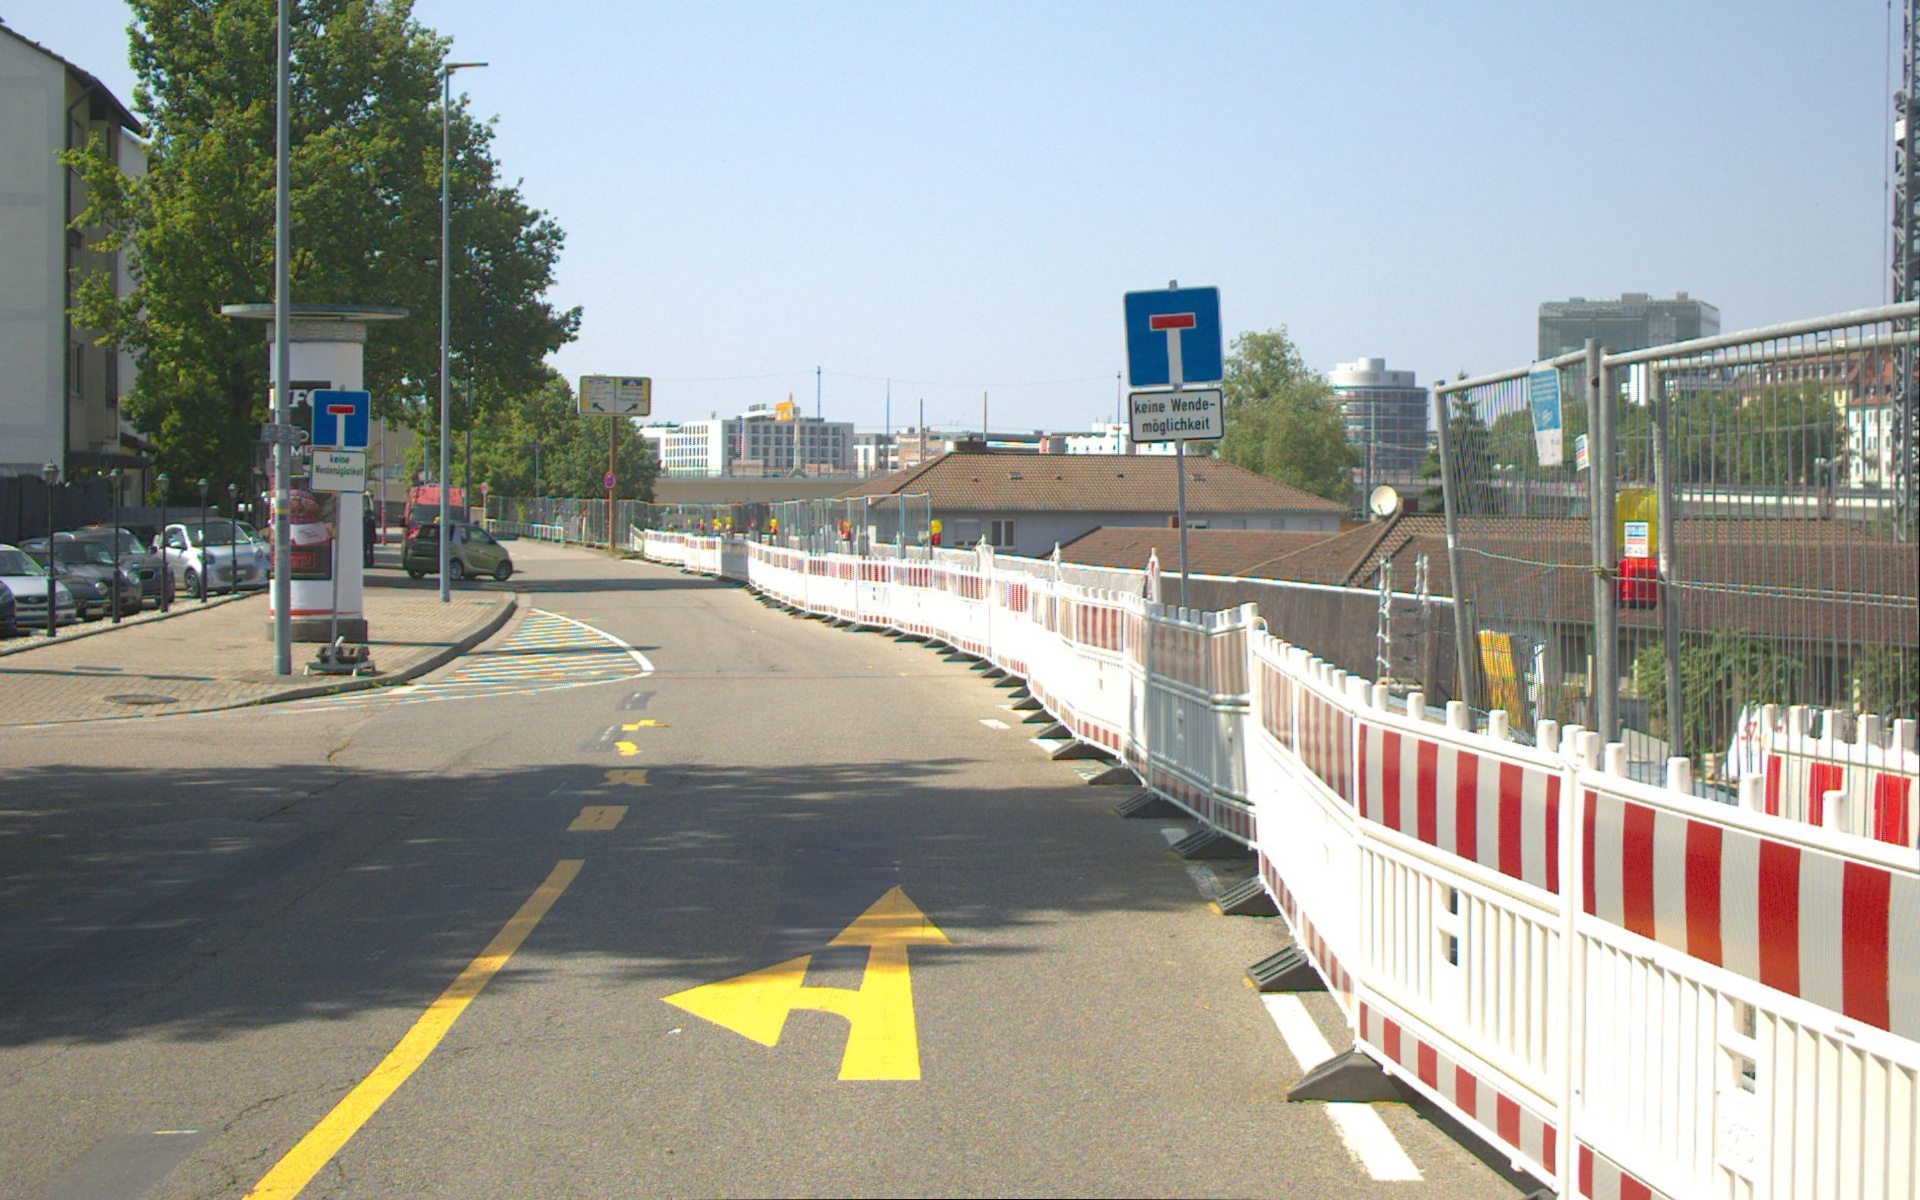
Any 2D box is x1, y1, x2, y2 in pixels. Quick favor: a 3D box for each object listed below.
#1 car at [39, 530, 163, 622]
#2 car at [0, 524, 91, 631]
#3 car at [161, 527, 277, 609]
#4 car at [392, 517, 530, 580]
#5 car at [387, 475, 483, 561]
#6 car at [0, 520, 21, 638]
[{"bbox_3d":[-15.809,-0.456,63.162,1.856,1.623,4.001,0,1,-19],"label":"car"},{"bbox_3d":[-14.898,-0.381,54.421,1.856,1.623,4.001,0,1,-19],"label":"car"},{"bbox_3d":[-15.353,-0.678,71.146,1.856,1.623,4.001,0,1,-19],"label":"car"},{"bbox_3d":[-13.400,-1.368,92.309,1.725,1.632,3.272,1,0,44],"label":"car"},{"bbox_3d":[-16.171,-2.492,106.087,2.537,2.511,5.119,1,0,-5],"label":"car"},{"bbox_3d":[-14.446,-0.336,48.835,1.856,1.623,4.001,0,1,-19],"label":"car"}]
